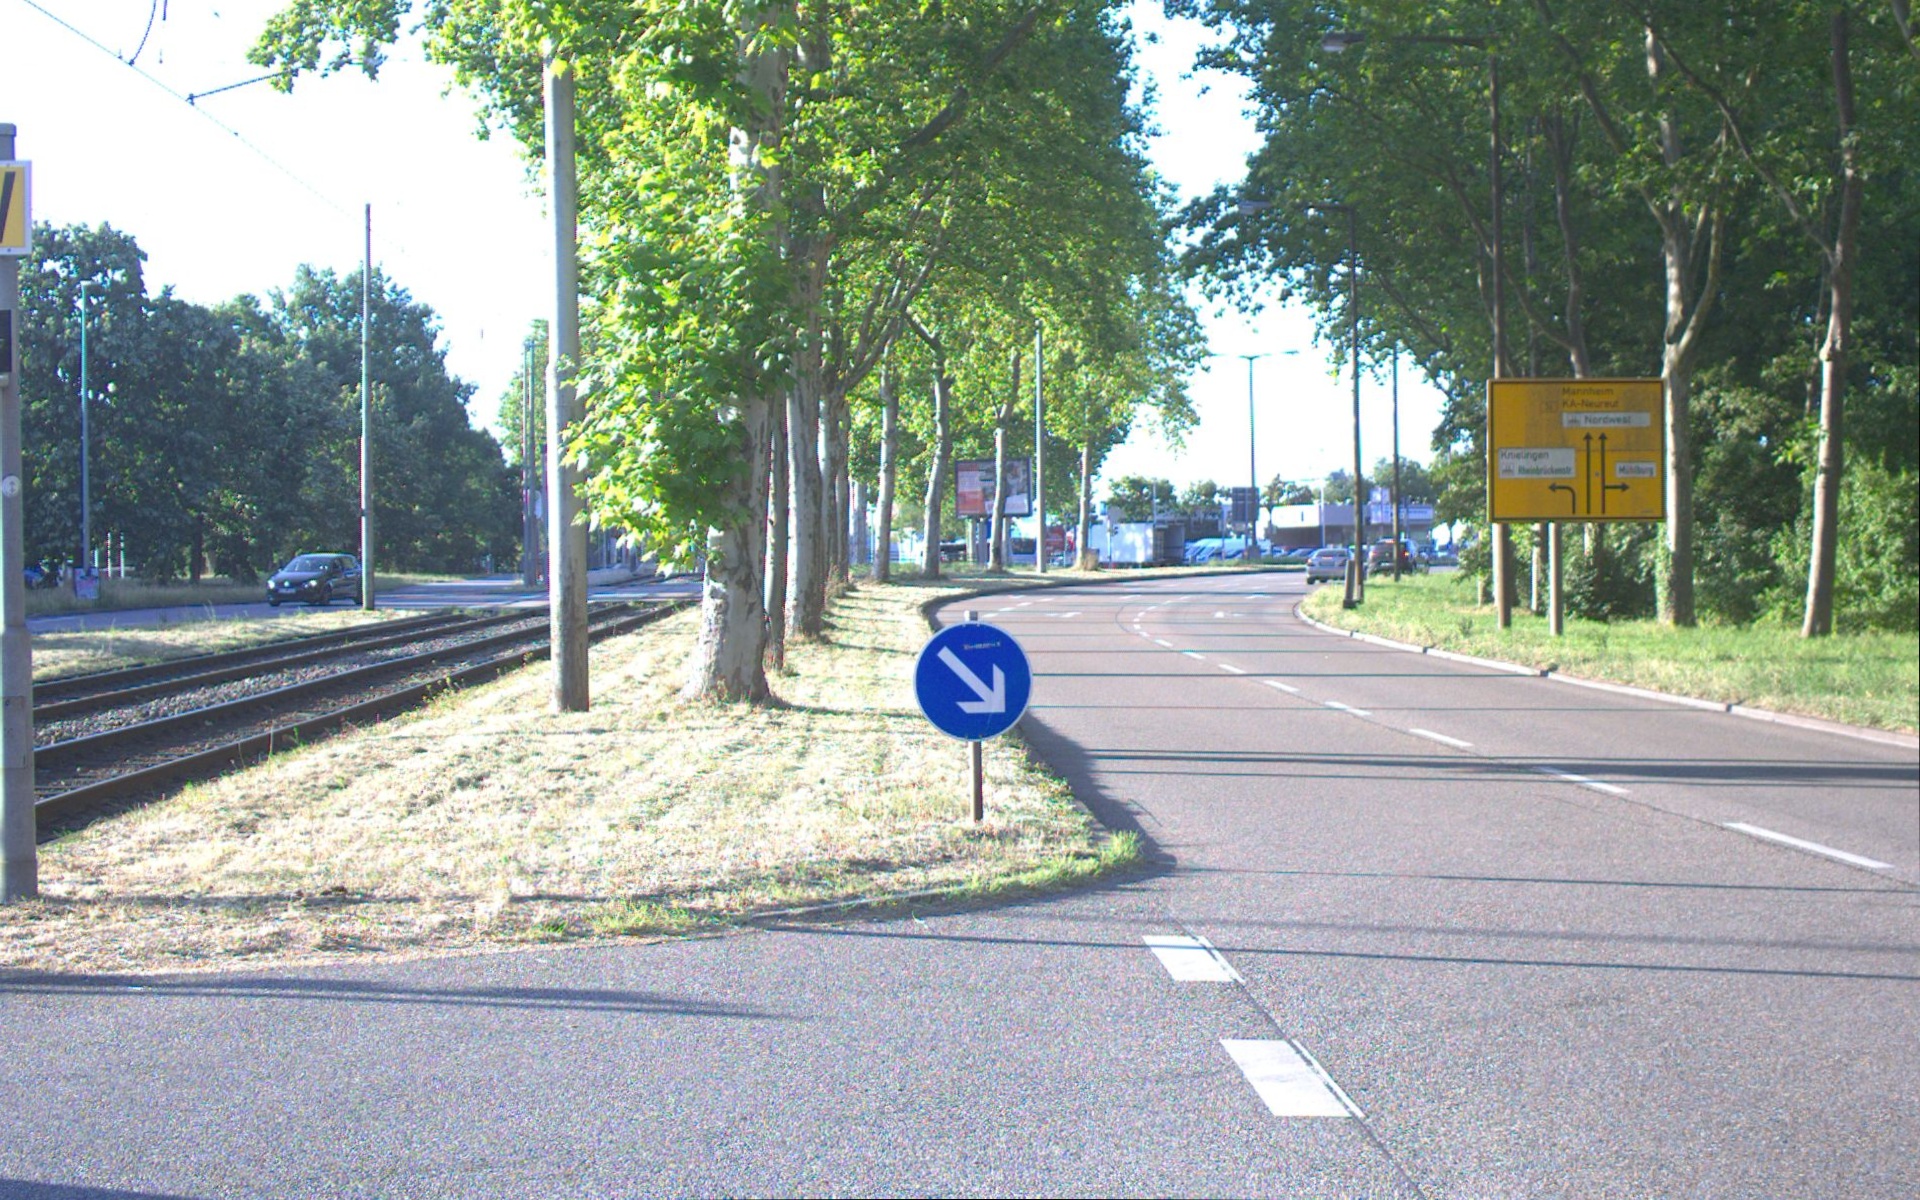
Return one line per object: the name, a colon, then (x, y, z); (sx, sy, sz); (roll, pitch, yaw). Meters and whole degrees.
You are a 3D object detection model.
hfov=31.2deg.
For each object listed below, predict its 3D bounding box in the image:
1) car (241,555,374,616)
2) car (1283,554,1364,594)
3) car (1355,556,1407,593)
car: (-18.166, -0.424, 95.856); (1.810, 1.678, 3.996); (0, 1, 21)
car: (13.347, -0.945, 125.939); (1.996, 1.437, 3.996); (1, 0, 21)
car: (16.667, -1.022, 136.143); (1.994, 1.435, 3.999); (0, 0, 7)
